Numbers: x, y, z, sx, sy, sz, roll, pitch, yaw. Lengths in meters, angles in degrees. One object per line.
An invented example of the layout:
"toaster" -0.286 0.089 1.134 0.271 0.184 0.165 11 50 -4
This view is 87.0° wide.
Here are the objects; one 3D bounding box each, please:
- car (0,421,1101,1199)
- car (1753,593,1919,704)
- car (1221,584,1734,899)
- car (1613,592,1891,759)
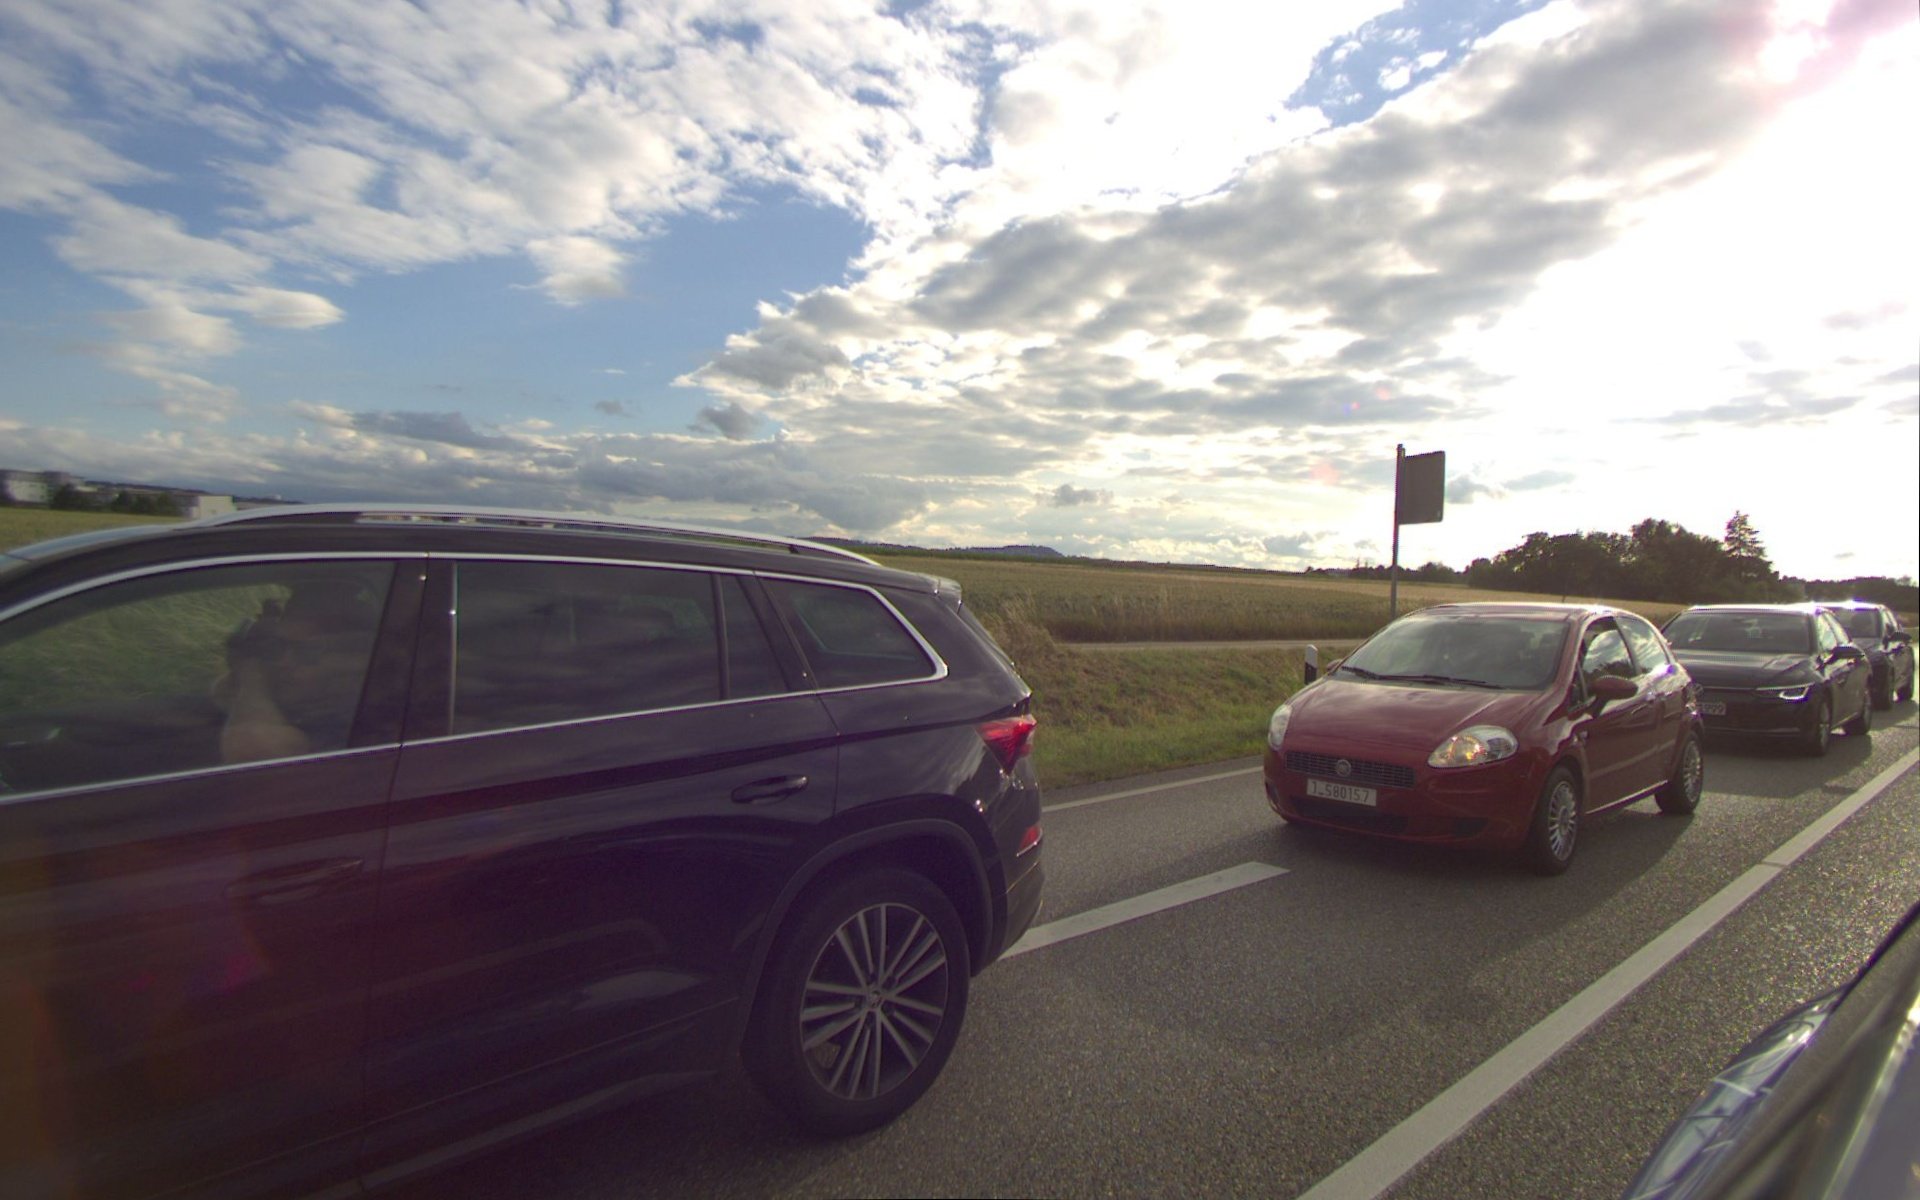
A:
"car" -1.732 0.563 2.509 4.342 1.689 1.722 0 0 -41
"car" 13.470 0.651 15.387 3.414 1.494 1.629 0 0 -41
"car" 3.556 0.676 6.672 3.796 1.494 1.668 0 0 -40
"car" 8.691 0.681 11.002 3.798 1.494 1.722 0 0 -41
